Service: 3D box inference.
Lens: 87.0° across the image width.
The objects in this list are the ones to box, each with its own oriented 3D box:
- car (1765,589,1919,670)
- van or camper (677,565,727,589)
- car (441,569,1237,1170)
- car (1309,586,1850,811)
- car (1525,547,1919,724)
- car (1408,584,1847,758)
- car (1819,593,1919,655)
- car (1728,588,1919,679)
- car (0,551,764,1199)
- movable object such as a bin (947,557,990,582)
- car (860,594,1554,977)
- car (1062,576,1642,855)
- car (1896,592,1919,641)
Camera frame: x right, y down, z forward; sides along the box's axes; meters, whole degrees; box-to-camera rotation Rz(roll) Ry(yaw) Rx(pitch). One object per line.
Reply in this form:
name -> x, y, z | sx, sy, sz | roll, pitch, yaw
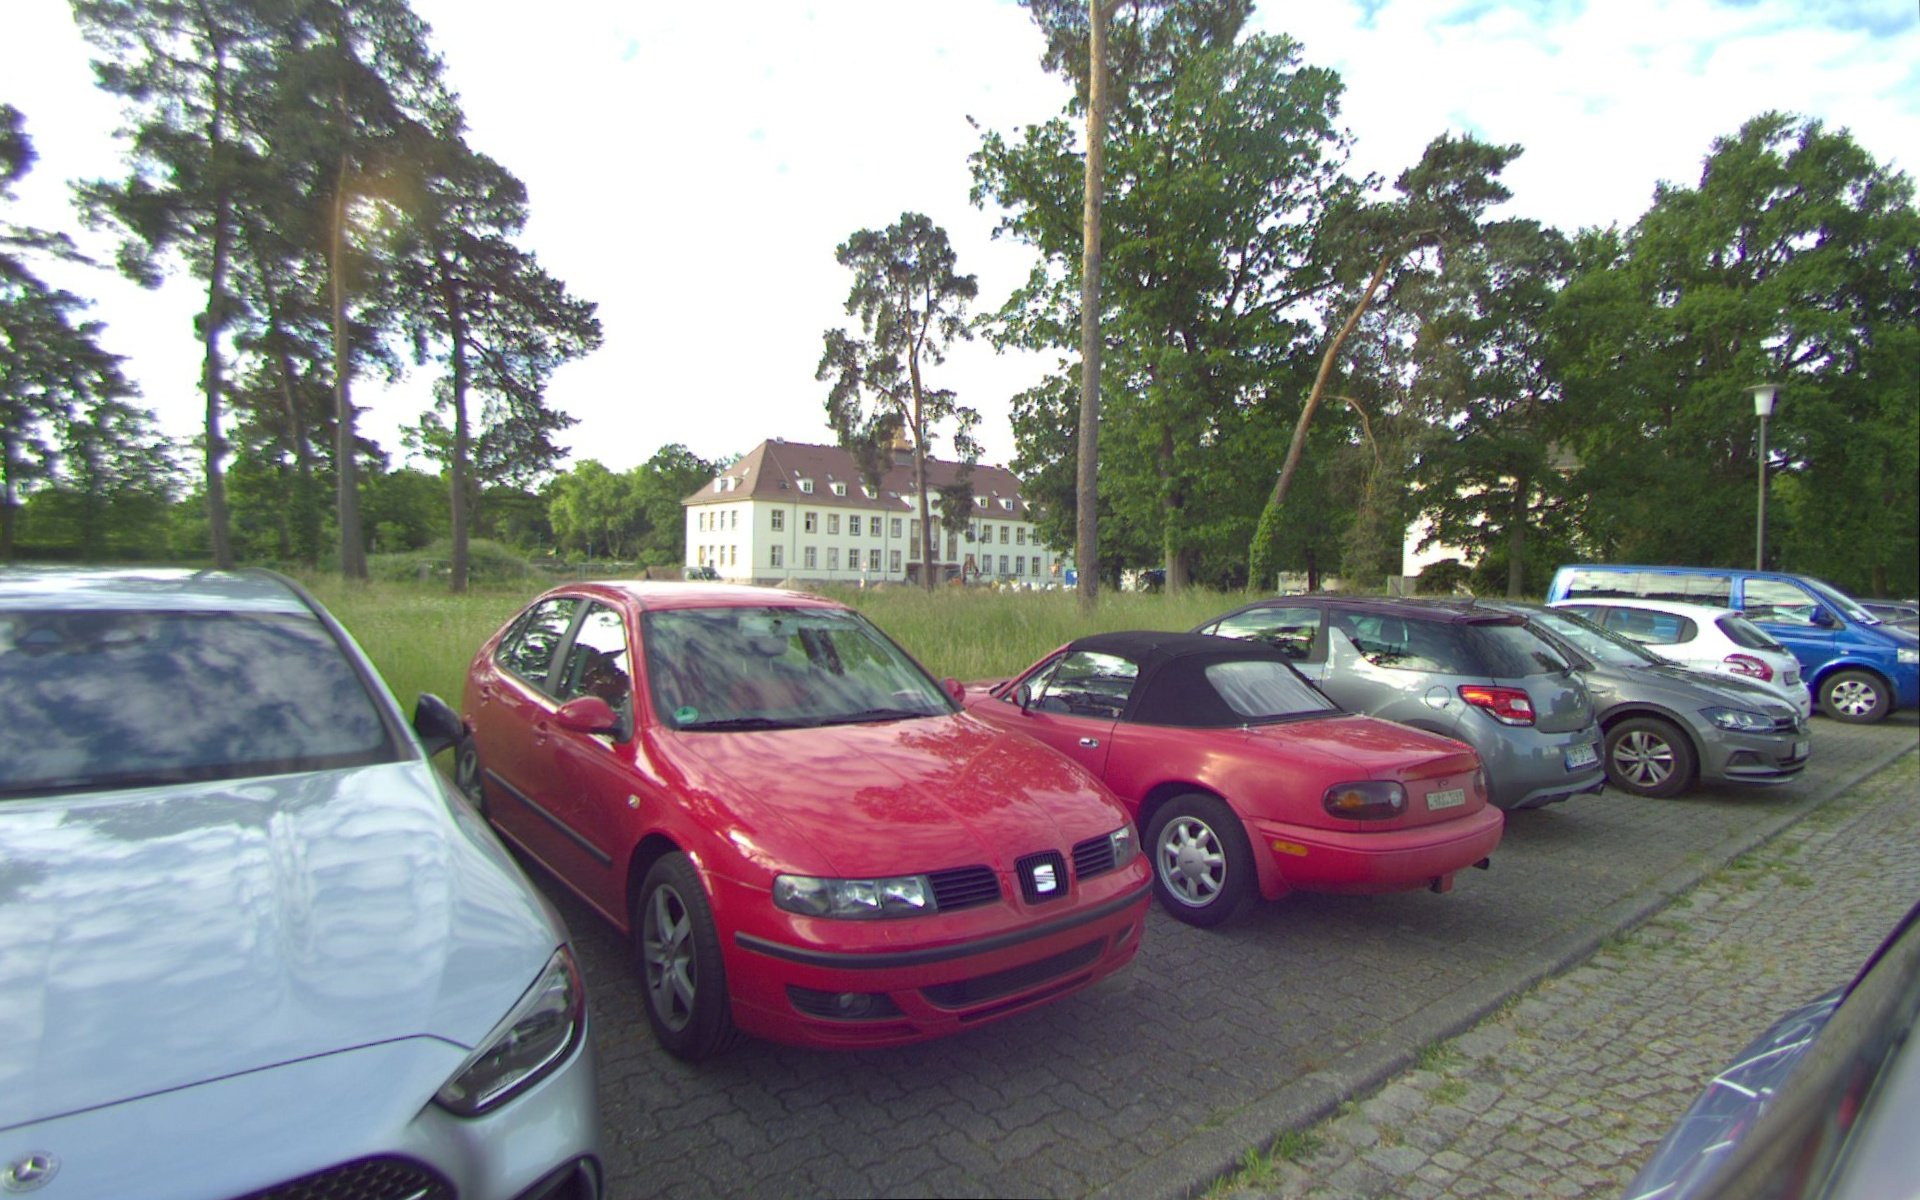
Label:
car -> 19.948, 0.619, 22.009 | 1.554, 1.621, 3.628 | 1, 1, -43
van or camper -> -25.888, -2.306, 101.377 | 6.065, 2.250, 1.968 | 3, 2, 44
car -> -0.980, 0.613, 4.622 | 1.688, 1.441, 4.118 | 0, 2, -39
car -> 5.265, 0.665, 9.042 | 1.612, 1.483, 3.783 | 0, 2, -37
car -> 11.288, 0.361, 14.656 | 2.023, 2.047, 4.956 | 0, 3, -38
car -> 7.191, 0.633, 11.243 | 1.552, 1.517, 3.763 | 0, 2, -37
car -> 25.429, 0.657, 26.874 | 1.554, 1.544, 3.833 | 0, 2, -43
car -> 17.803, 0.623, 20.097 | 1.554, 1.621, 3.833 | 1, 1, -43
car -> -2.421, 0.616, 2.906 | 1.736, 1.446, 4.335 | 0, 2, -40
movable object such as a bin -> 1.023, -3.551, 117.790 | 5.119, 2.802, 1.995 | 0, 2, -45
car -> 1.063, 0.680, 5.652 | 1.579, 1.302, 3.556 | -1, 3, -38
car -> 2.710, 0.620, 7.720 | 1.576, 1.522, 3.837 | 0, 2, -39
car -> 33.446, 0.606, 33.132 | 1.551, 1.638, 3.842 | 1, 2, -35
